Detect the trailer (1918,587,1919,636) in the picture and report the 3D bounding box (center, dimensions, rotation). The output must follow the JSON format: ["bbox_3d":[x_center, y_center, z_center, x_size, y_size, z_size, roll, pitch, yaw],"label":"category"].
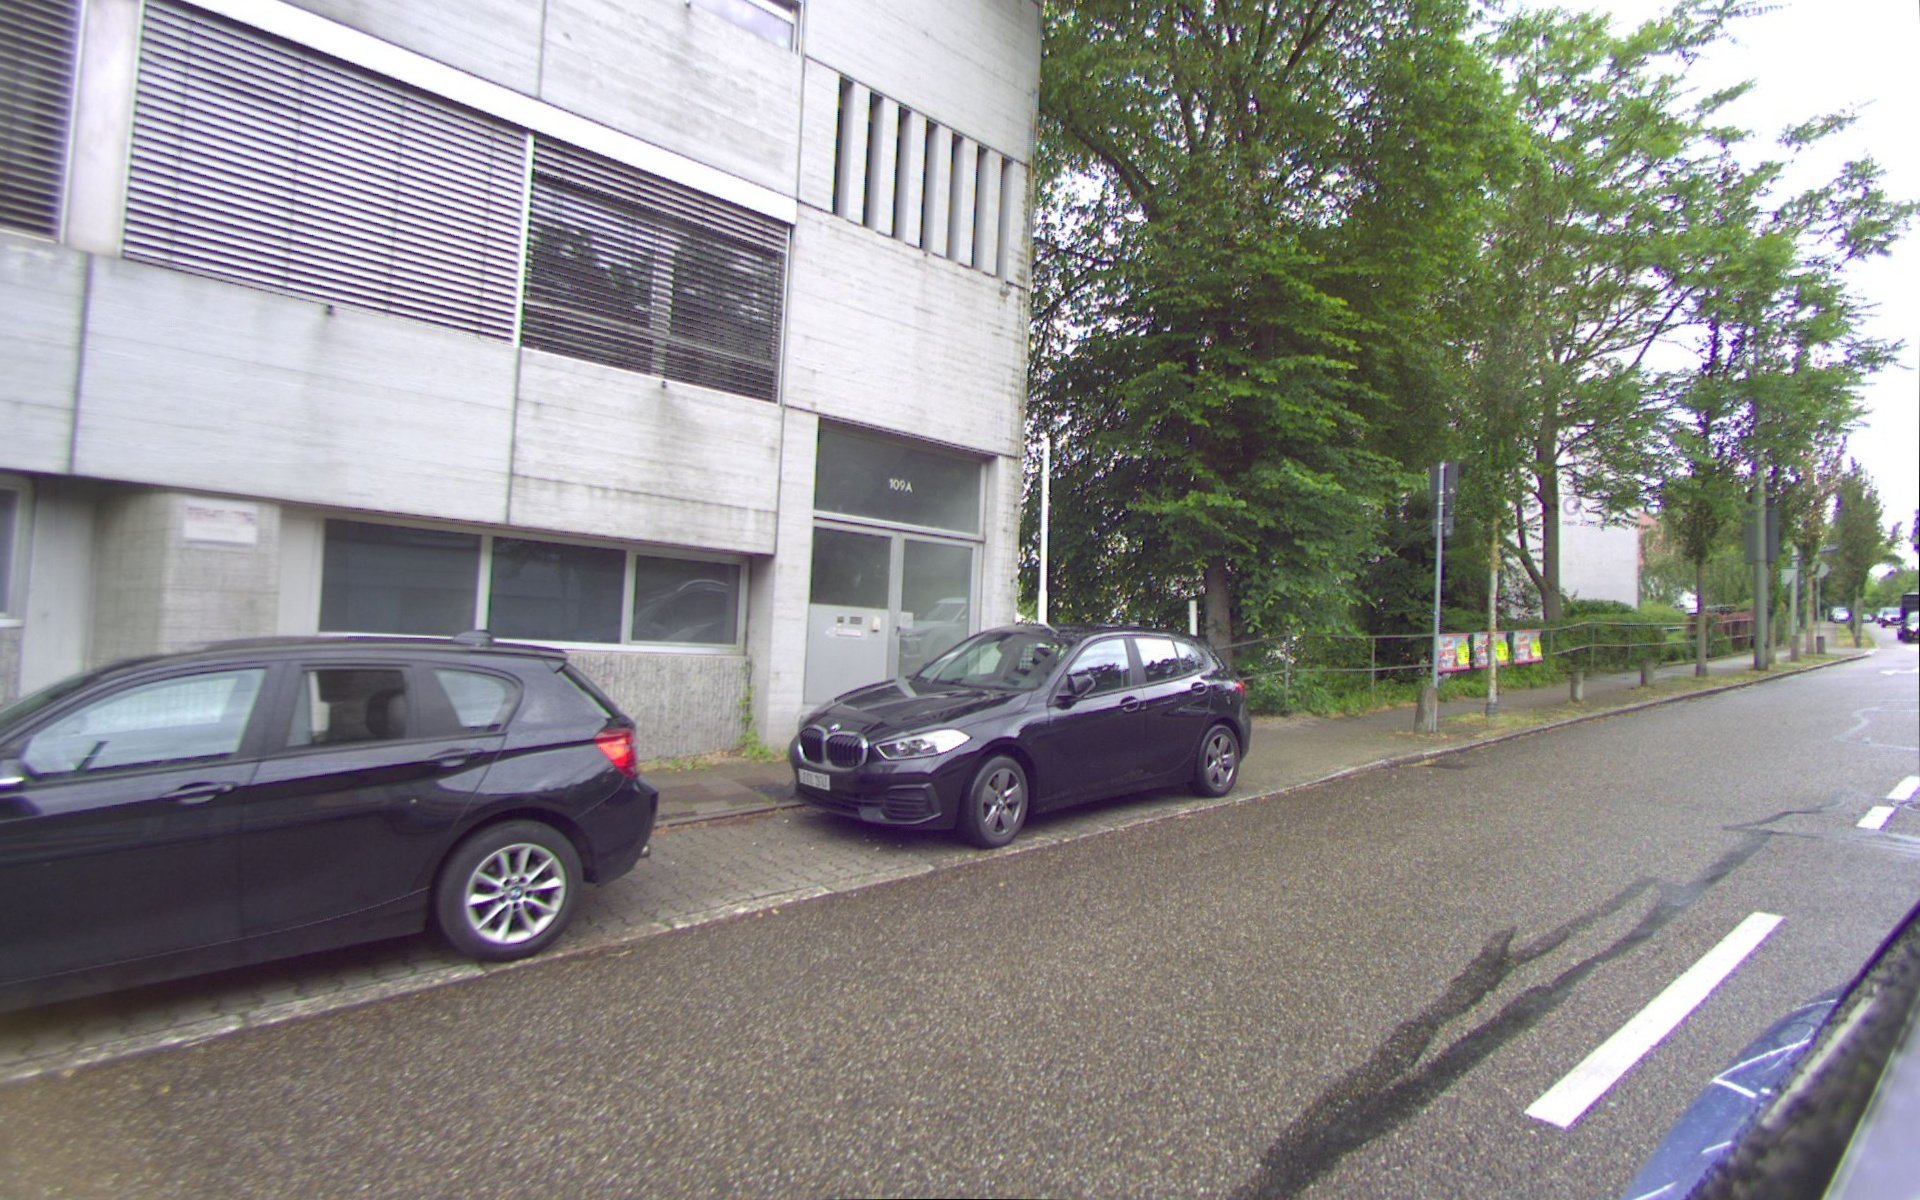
[{"bbox_3d":[54.369,0.620,56.120,1.766,2.658,2.986,0,0,43],"label":"trailer"}]

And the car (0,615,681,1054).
[{"bbox_3d":[-3.489,0.836,4.470,4.022,1.462,1.711,0,0,-38],"label":"car"}]

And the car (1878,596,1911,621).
[{"bbox_3d":[79.931,0.730,86.599,1.992,2.039,3.941,0,1,41],"label":"car"}]

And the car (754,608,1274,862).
[{"bbox_3d":[0.606,0.824,8.136,4.084,1.462,1.841,0,1,-42],"label":"car"}]
